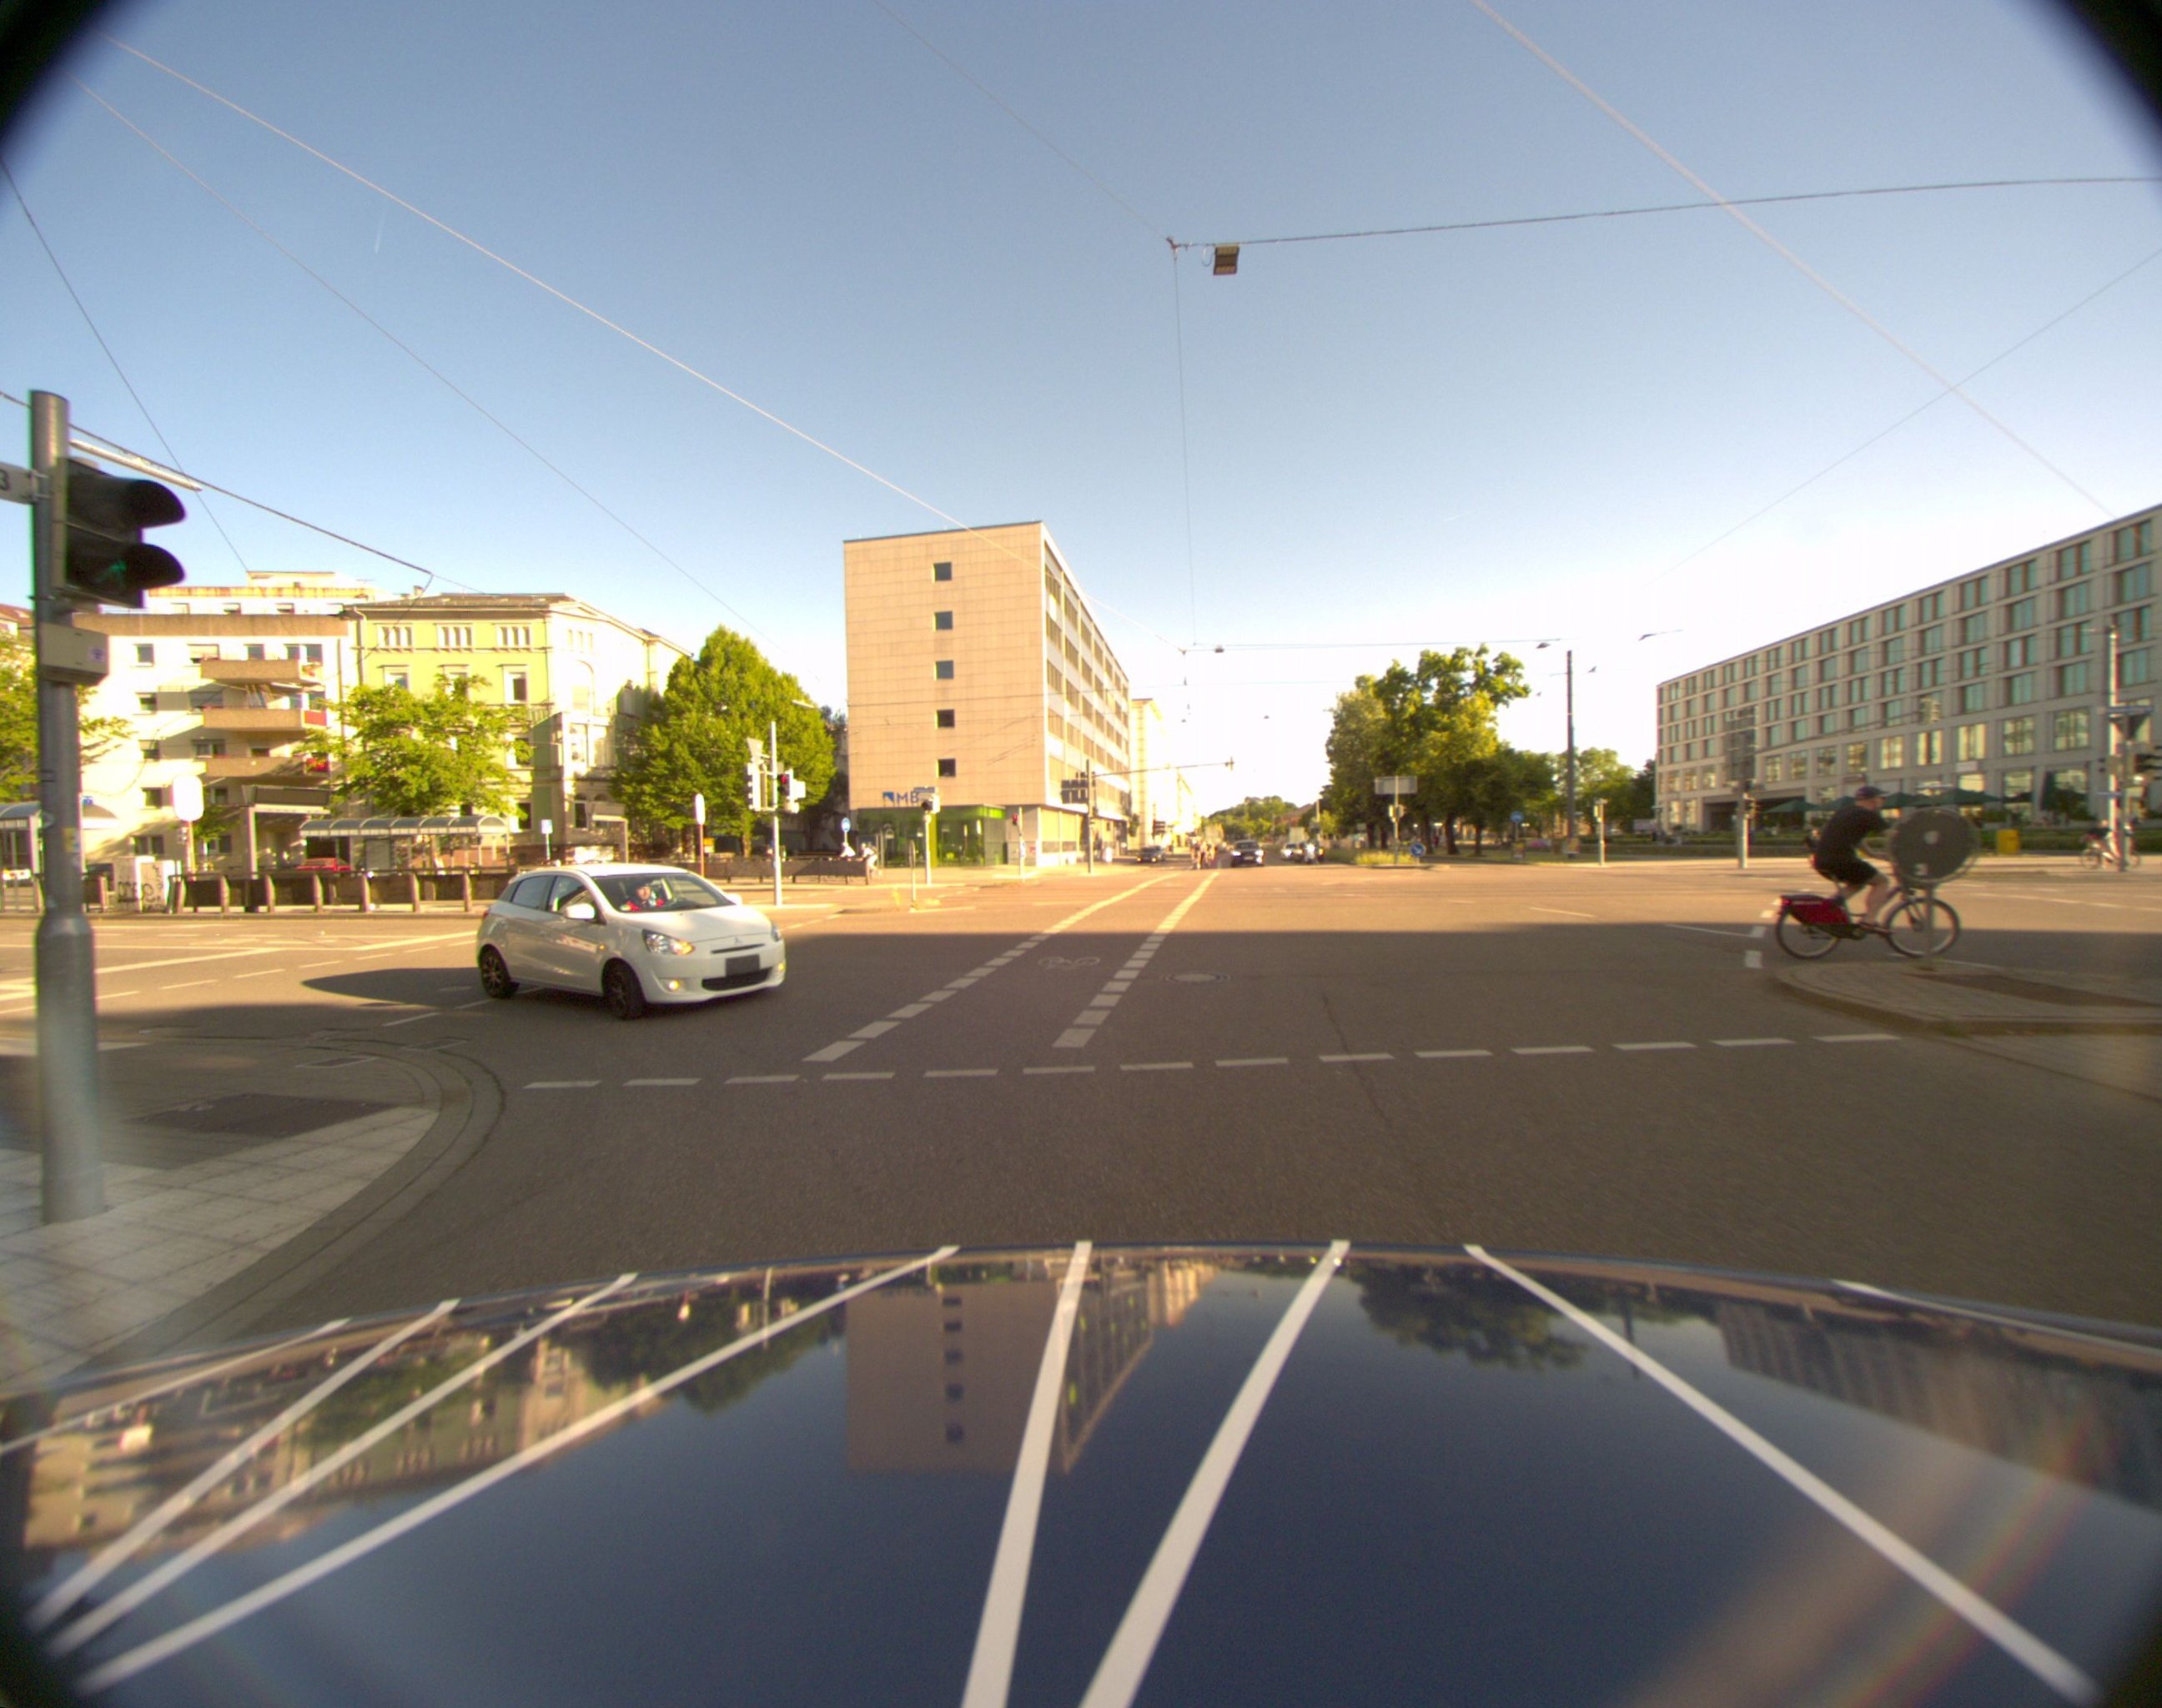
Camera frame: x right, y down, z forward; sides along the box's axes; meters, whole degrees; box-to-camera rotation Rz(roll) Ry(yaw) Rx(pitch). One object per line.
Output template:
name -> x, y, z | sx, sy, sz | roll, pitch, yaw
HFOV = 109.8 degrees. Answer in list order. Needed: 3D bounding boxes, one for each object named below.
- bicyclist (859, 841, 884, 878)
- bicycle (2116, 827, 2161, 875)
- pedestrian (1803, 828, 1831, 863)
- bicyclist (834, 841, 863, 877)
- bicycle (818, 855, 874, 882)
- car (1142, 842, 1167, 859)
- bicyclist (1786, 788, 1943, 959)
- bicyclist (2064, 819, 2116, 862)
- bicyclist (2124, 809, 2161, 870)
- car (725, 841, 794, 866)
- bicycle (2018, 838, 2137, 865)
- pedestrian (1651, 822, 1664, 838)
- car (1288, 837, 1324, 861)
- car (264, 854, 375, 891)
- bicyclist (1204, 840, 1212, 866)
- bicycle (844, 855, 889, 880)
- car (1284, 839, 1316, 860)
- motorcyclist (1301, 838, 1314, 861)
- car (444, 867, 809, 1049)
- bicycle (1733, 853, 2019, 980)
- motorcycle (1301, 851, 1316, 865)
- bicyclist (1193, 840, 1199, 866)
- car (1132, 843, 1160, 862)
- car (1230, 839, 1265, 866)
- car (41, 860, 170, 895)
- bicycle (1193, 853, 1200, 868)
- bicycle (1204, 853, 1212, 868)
bicyclist -> -9.854, 0.247, 35.705 | 0.948, 1.682, 0.762 | -2, 5, -33
bicycle -> 28.793, -0.102, 20.329 | 0.844, 1.224, 2.018 | 0, 2, 40
pedestrian -> 32.255, -0.390, 33.312 | 0.623, 1.517, 0.603 | -1, 1, 6
bicyclist -> -10.299, 0.199, 33.666 | 0.886, 1.499, 0.909 | 5, 6, 45
bicycle -> -10.388, 0.618, 33.623 | 2.187, 1.062, 0.881 | -3, 5, -44
car -> 7.162, -0.357, 73.694 | 1.997, 1.564, 4.552 | -1, 1, 11
bicyclist -> 8.314, 0.185, 8.116 | 0.837, 1.734, 0.755 | 0, 3, 10
bicyclist -> 32.828, -0.442, 24.727 | 0.828, 1.354, 0.970 | -2, 2, -35
bicyclist -> 28.758, -0.387, 20.292 | 0.850, 1.610, 0.975 | 0, 2, 40
car -> -22.060, -0.020, 52.210 | 3.995, 1.576, 1.740 | -1, 3, 6
bicycle -> 32.681, -0.077, 24.958 | 0.845, 0.846, 2.329 | -2, 1, -35
pedestrian -> 55.534, -2.312, 73.206 | 0.784, 1.517, 0.762 | -1, 1, 11
car -> 15.610, -0.368, 52.878 | 1.997, 1.564, 4.552 | -1, 1, 11
car -> -38.881, 0.886, 38.942 | 1.740, 1.576, 3.996 | -1, 3, -4
bicyclist -> 7.734, -0.063, 46.285 | 0.453, 1.567, 0.536 | -1, 2, 11
bicycle -> -10.034, 0.636, 35.580 | 1.910, 1.062, 0.753 | -2, 4, -32
car -> 17.422, -0.363, 60.652 | 1.997, 1.564, 4.552 | -1, 1, 11
motorcyclist -> 13.921, -0.274, 46.765 | 0.606, 1.438, 0.736 | -1, 1, 5
car -> -5.010, 0.954, 8.341 | 3.755, 1.456, 1.682 | 1, 3, 28
bicycle -> 8.385, 0.645, 8.122 | 2.017, 1.233, 0.778 | -1, 3, 10
motorcycle -> 13.916, 0.252, 46.570 | 0.623, 0.791, 1.309 | -1, 1, 4
bicyclist -> 7.011, -0.070, 46.269 | 0.358, 1.567, 0.536 | -1, 2, 11
car -> 5.866, -0.176, 67.766 | 1.997, 1.564, 4.552 | -1, 1, 11
car -> 10.263, -0.134, 47.185 | 1.997, 1.564, 4.552 | -1, 1, 11
car -> -49.200, 1.152, 38.389 | 3.998, 1.576, 1.739 | -1, 3, -3
bicycle -> 7.021, 0.416, 46.284 | 0.351, 0.869, 1.386 | -1, 1, 11
bicycle -> 7.753, 0.403, 46.361 | 0.452, 0.869, 1.386 | -1, 1, 11
